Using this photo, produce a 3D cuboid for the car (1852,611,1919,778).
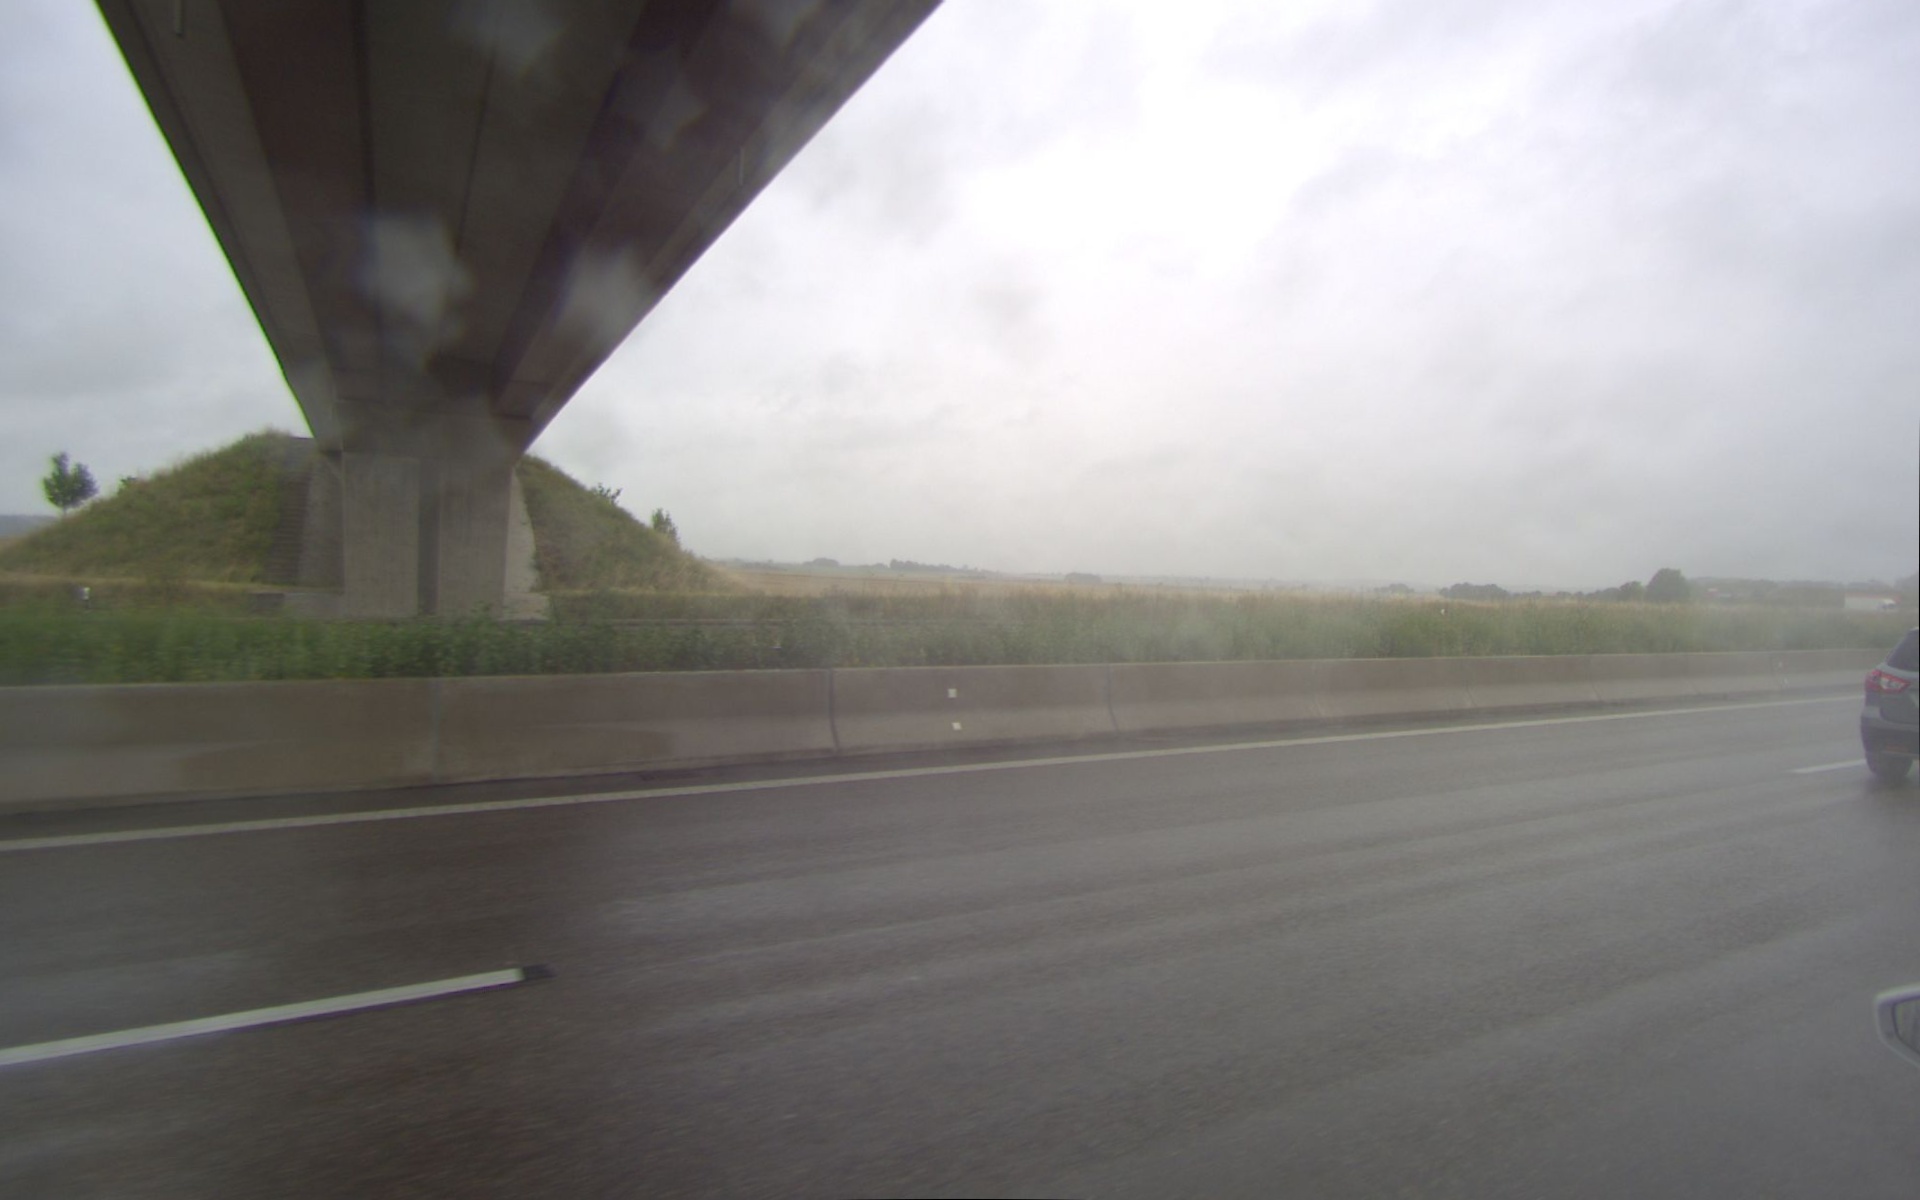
[{"bbox_3d":[11.141,0.926,10.119,4.700,1.533,1.837,1,0,-30],"label":"car"}]
